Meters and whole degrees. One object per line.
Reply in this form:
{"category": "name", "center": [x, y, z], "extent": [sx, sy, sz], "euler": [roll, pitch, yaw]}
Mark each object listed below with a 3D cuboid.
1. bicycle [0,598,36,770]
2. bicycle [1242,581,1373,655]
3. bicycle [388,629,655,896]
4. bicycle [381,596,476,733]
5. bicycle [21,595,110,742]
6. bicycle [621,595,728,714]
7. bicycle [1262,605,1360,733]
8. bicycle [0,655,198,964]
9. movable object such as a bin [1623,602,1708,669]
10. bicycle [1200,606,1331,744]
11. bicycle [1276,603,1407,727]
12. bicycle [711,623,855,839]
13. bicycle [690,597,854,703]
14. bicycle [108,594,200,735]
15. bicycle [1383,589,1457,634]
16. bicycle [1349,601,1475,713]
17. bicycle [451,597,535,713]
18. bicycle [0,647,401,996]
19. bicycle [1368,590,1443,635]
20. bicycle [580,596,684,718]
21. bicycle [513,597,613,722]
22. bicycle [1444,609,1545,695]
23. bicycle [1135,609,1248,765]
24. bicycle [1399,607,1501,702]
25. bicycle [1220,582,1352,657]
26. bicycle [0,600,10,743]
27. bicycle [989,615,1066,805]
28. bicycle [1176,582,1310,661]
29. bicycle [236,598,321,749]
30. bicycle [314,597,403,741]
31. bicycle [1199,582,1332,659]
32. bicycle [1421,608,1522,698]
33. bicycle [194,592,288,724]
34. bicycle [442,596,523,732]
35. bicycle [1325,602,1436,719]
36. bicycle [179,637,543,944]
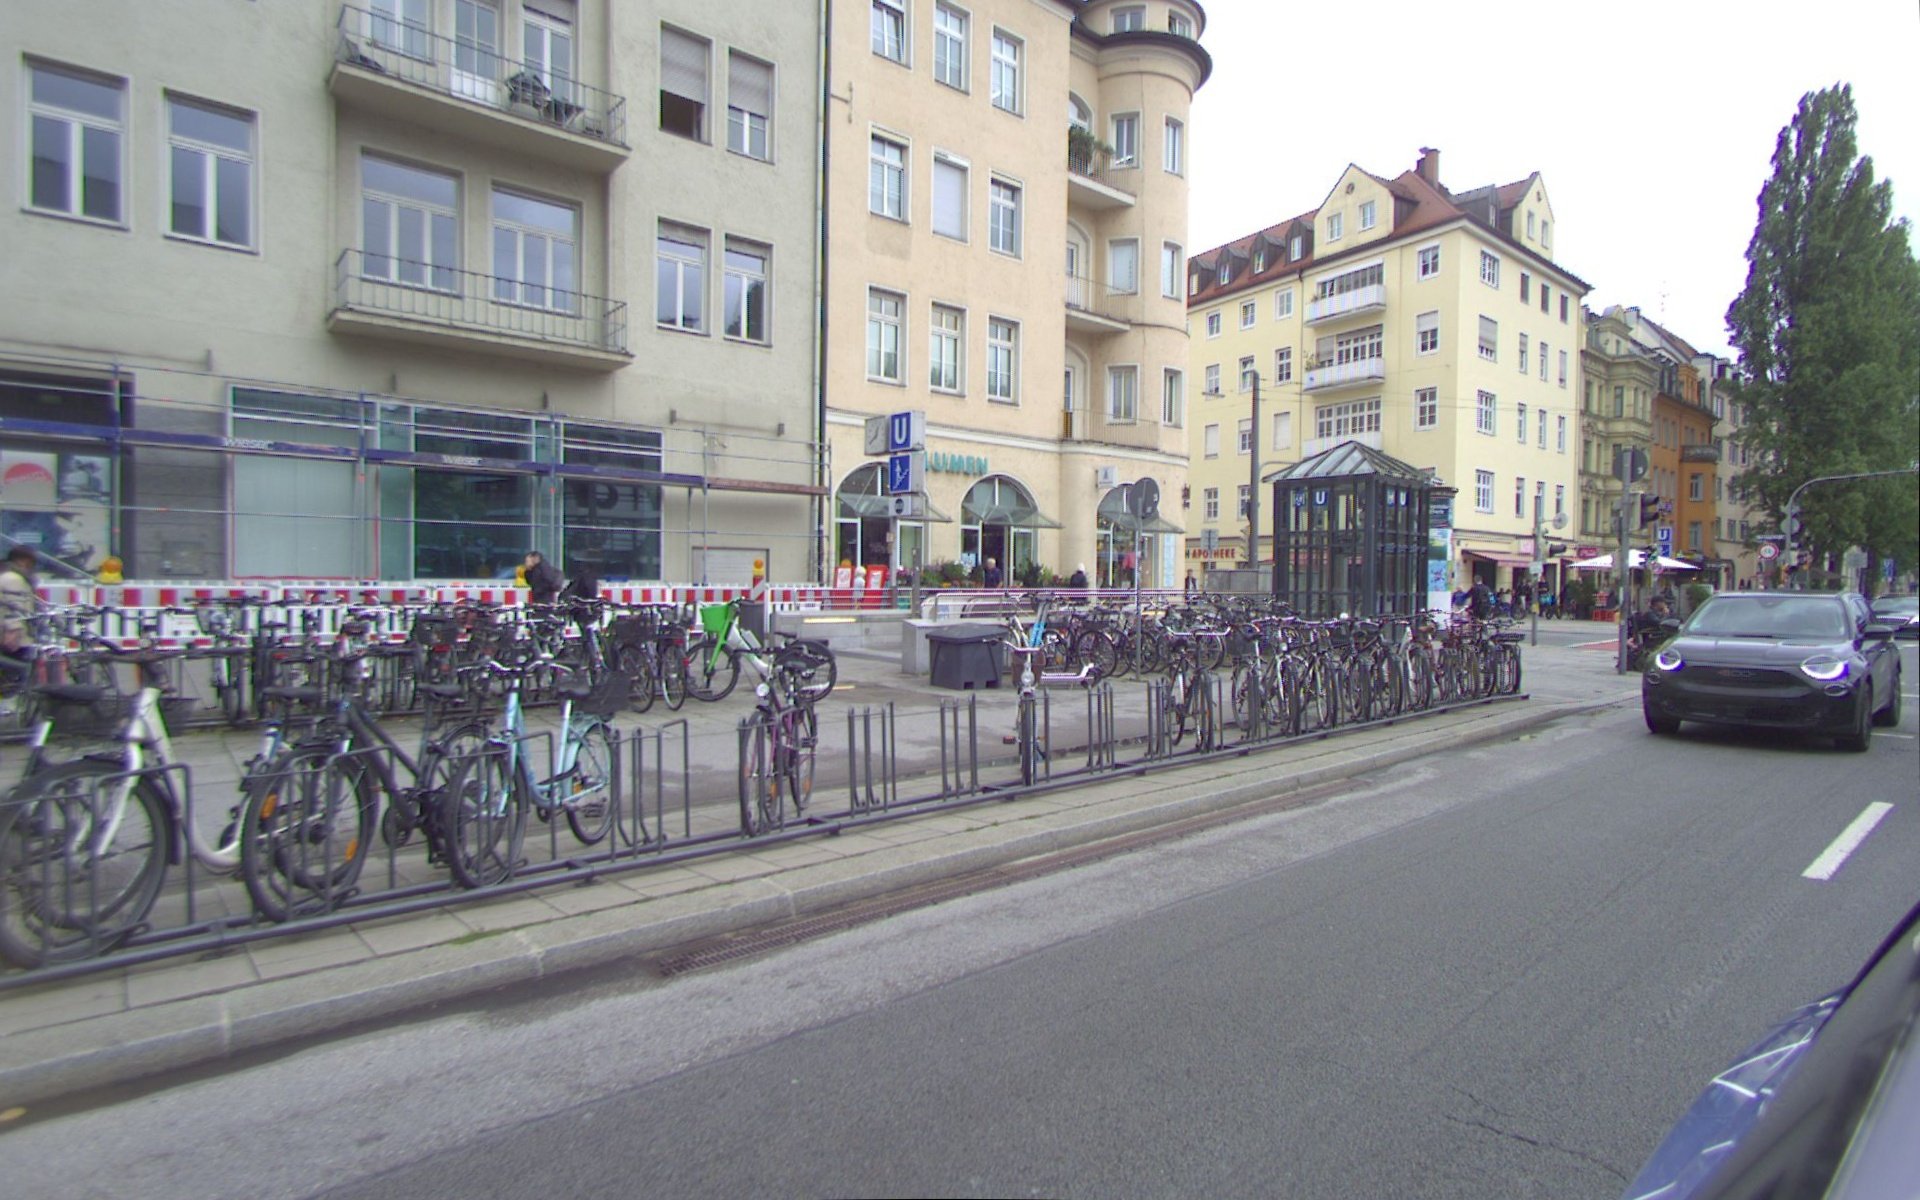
{"category": "bicycle", "center": [-6.989, 0.564, 7.246], "extent": [1.447, 1.091, 0.404], "euler": [3, 3, 42]}
{"category": "bicycle", "center": [6.390, 0.298, 18.742], "extent": [0.617, 1.242, 2.319], "euler": [0, 2, -37]}
{"category": "bicycle", "center": [-2.060, 0.691, 5.036], "extent": [0.390, 1.073, 1.849], "euler": [-1, -2, 4]}
{"category": "bicycle", "center": [-4.956, 0.546, 9.388], "extent": [0.403, 1.091, 1.660], "euler": [-1, 3, -41]}
{"category": "bicycle", "center": [-7.635, 0.536, 8.620], "extent": [1.530, 1.091, 0.404], "euler": [3, 3, 42]}
{"category": "bicycle", "center": [-3.025, 0.530, 10.641], "extent": [0.403, 1.091, 1.654], "euler": [-1, 3, -41]}
{"category": "bicycle", "center": [3.469, 0.637, 10.104], "extent": [0.341, 1.151, 1.527], "euler": [0, 1, -5]}
{"category": "bicycle", "center": [-3.592, 0.753, 3.633], "extent": [0.390, 1.073, 1.801], "euler": [0, -2, -2]}
{"category": "movable object such as a bin", "center": [12.603, 0.621, 18.090], "extent": [0.735, 1.075, 1.088], "euler": [-1, 4, -43]}
{"category": "bicycle", "center": [2.852, 0.651, 9.644], "extent": [0.578, 1.151, 1.797], "euler": [0, 1, -4]}
{"category": "bicycle", "center": [3.926, 0.624, 10.550], "extent": [0.468, 1.151, 1.681], "euler": [0, 1, -10]}
{"category": "bicycle", "center": [-0.985, 0.687, 5.986], "extent": [0.390, 1.073, 1.849], "euler": [-1, -2, 4]}
{"category": "bicycle", "center": [-2.055, 0.541, 11.153], "extent": [1.728, 1.091, 0.410], "euler": [1, 2, 0]}
{"category": "bicycle", "center": [-7.176, 0.525, 8.988], "extent": [1.530, 1.091, 0.404], "euler": [3, 3, 42]}
{"category": "bicycle", "center": [12.520, 0.307, 27.613], "extent": [0.597, 1.142, 1.828], "euler": [1, 1, -28]}
{"category": "bicycle", "center": [5.095, 0.595, 11.531], "extent": [0.469, 1.151, 1.787], "euler": [0, 1, -6]}
{"category": "bicycle", "center": [-5.028, 0.551, 10.847], "extent": [0.403, 1.091, 1.529], "euler": [-1, 3, -41]}
{"category": "bicycle", "center": [-3.056, 0.739, 4.133], "extent": [0.390, 1.073, 1.849], "euler": [-1, -2, 4]}
{"category": "bicycle", "center": [11.980, 0.319, 27.266], "extent": [0.597, 1.142, 1.828], "euler": [1, 1, -28]}
{"category": "bicycle", "center": [-3.390, 0.538, 10.384], "extent": [0.403, 1.091, 1.604], "euler": [-1, 3, -41]}
{"category": "bicycle", "center": [-4.003, 0.549, 10.148], "extent": [0.403, 1.091, 1.624], "euler": [-1, 3, -41]}
{"category": "bicycle", "center": [7.058, 0.678, 13.463], "extent": [0.390, 1.073, 1.850], "euler": [-1, -2, 2]}
{"category": "bicycle", "center": [1.933, 0.677, 8.662], "extent": [0.480, 1.151, 1.796], "euler": [0, 1, -2]}
{"category": "bicycle", "center": [6.001, 0.656, 12.500], "extent": [0.390, 1.073, 1.850], "euler": [-1, -2, 2]}
{"category": "bicycle", "center": [5.844, 0.312, 18.295], "extent": [0.617, 1.242, 2.319], "euler": [0, 2, -37]}
{"category": "bicycle", "center": [-8.084, 0.540, 8.222], "extent": [1.447, 1.091, 0.404], "euler": [3, 3, 42]}
{"category": "bicycle", "center": [0.485, 0.714, 7.343], "extent": [0.481, 1.151, 1.794], "euler": [0, 1, 4]}
{"category": "bicycle", "center": [4.841, 0.336, 17.508], "extent": [0.617, 1.242, 2.319], "euler": [0, 2, -37]}
{"category": "bicycle", "center": [-5.714, 0.562, 8.463], "extent": [0.403, 1.091, 1.538], "euler": [-1, 3, -41]}
{"category": "bicycle", "center": [-5.266, 0.551, 8.828], "extent": [0.403, 1.091, 1.527], "euler": [-1, 3, -41]}
{"category": "bicycle", "center": [5.349, 0.324, 17.871], "extent": [0.617, 1.242, 2.319], "euler": [0, 2, -37]}
{"category": "bicycle", "center": [6.536, 0.669, 13.036], "extent": [0.390, 1.073, 1.850], "euler": [-1, -2, 2]}
{"category": "bicycle", "center": [-6.765, 0.505, 9.500], "extent": [1.447, 1.091, 0.404], "euler": [3, 3, 42]}
{"category": "bicycle", "center": [-4.483, 0.550, 9.462], "extent": [0.402, 1.091, 1.640], "euler": [0, 3, -35]}
{"category": "bicycle", "center": [4.545, 0.609, 11.047], "extent": [0.469, 1.151, 1.679], "euler": [0, 1, -1]}
{"category": "bicycle", "center": [-2.504, 0.705, 4.512], "extent": [0.390, 1.073, 1.849], "euler": [-1, -2, 4]}
